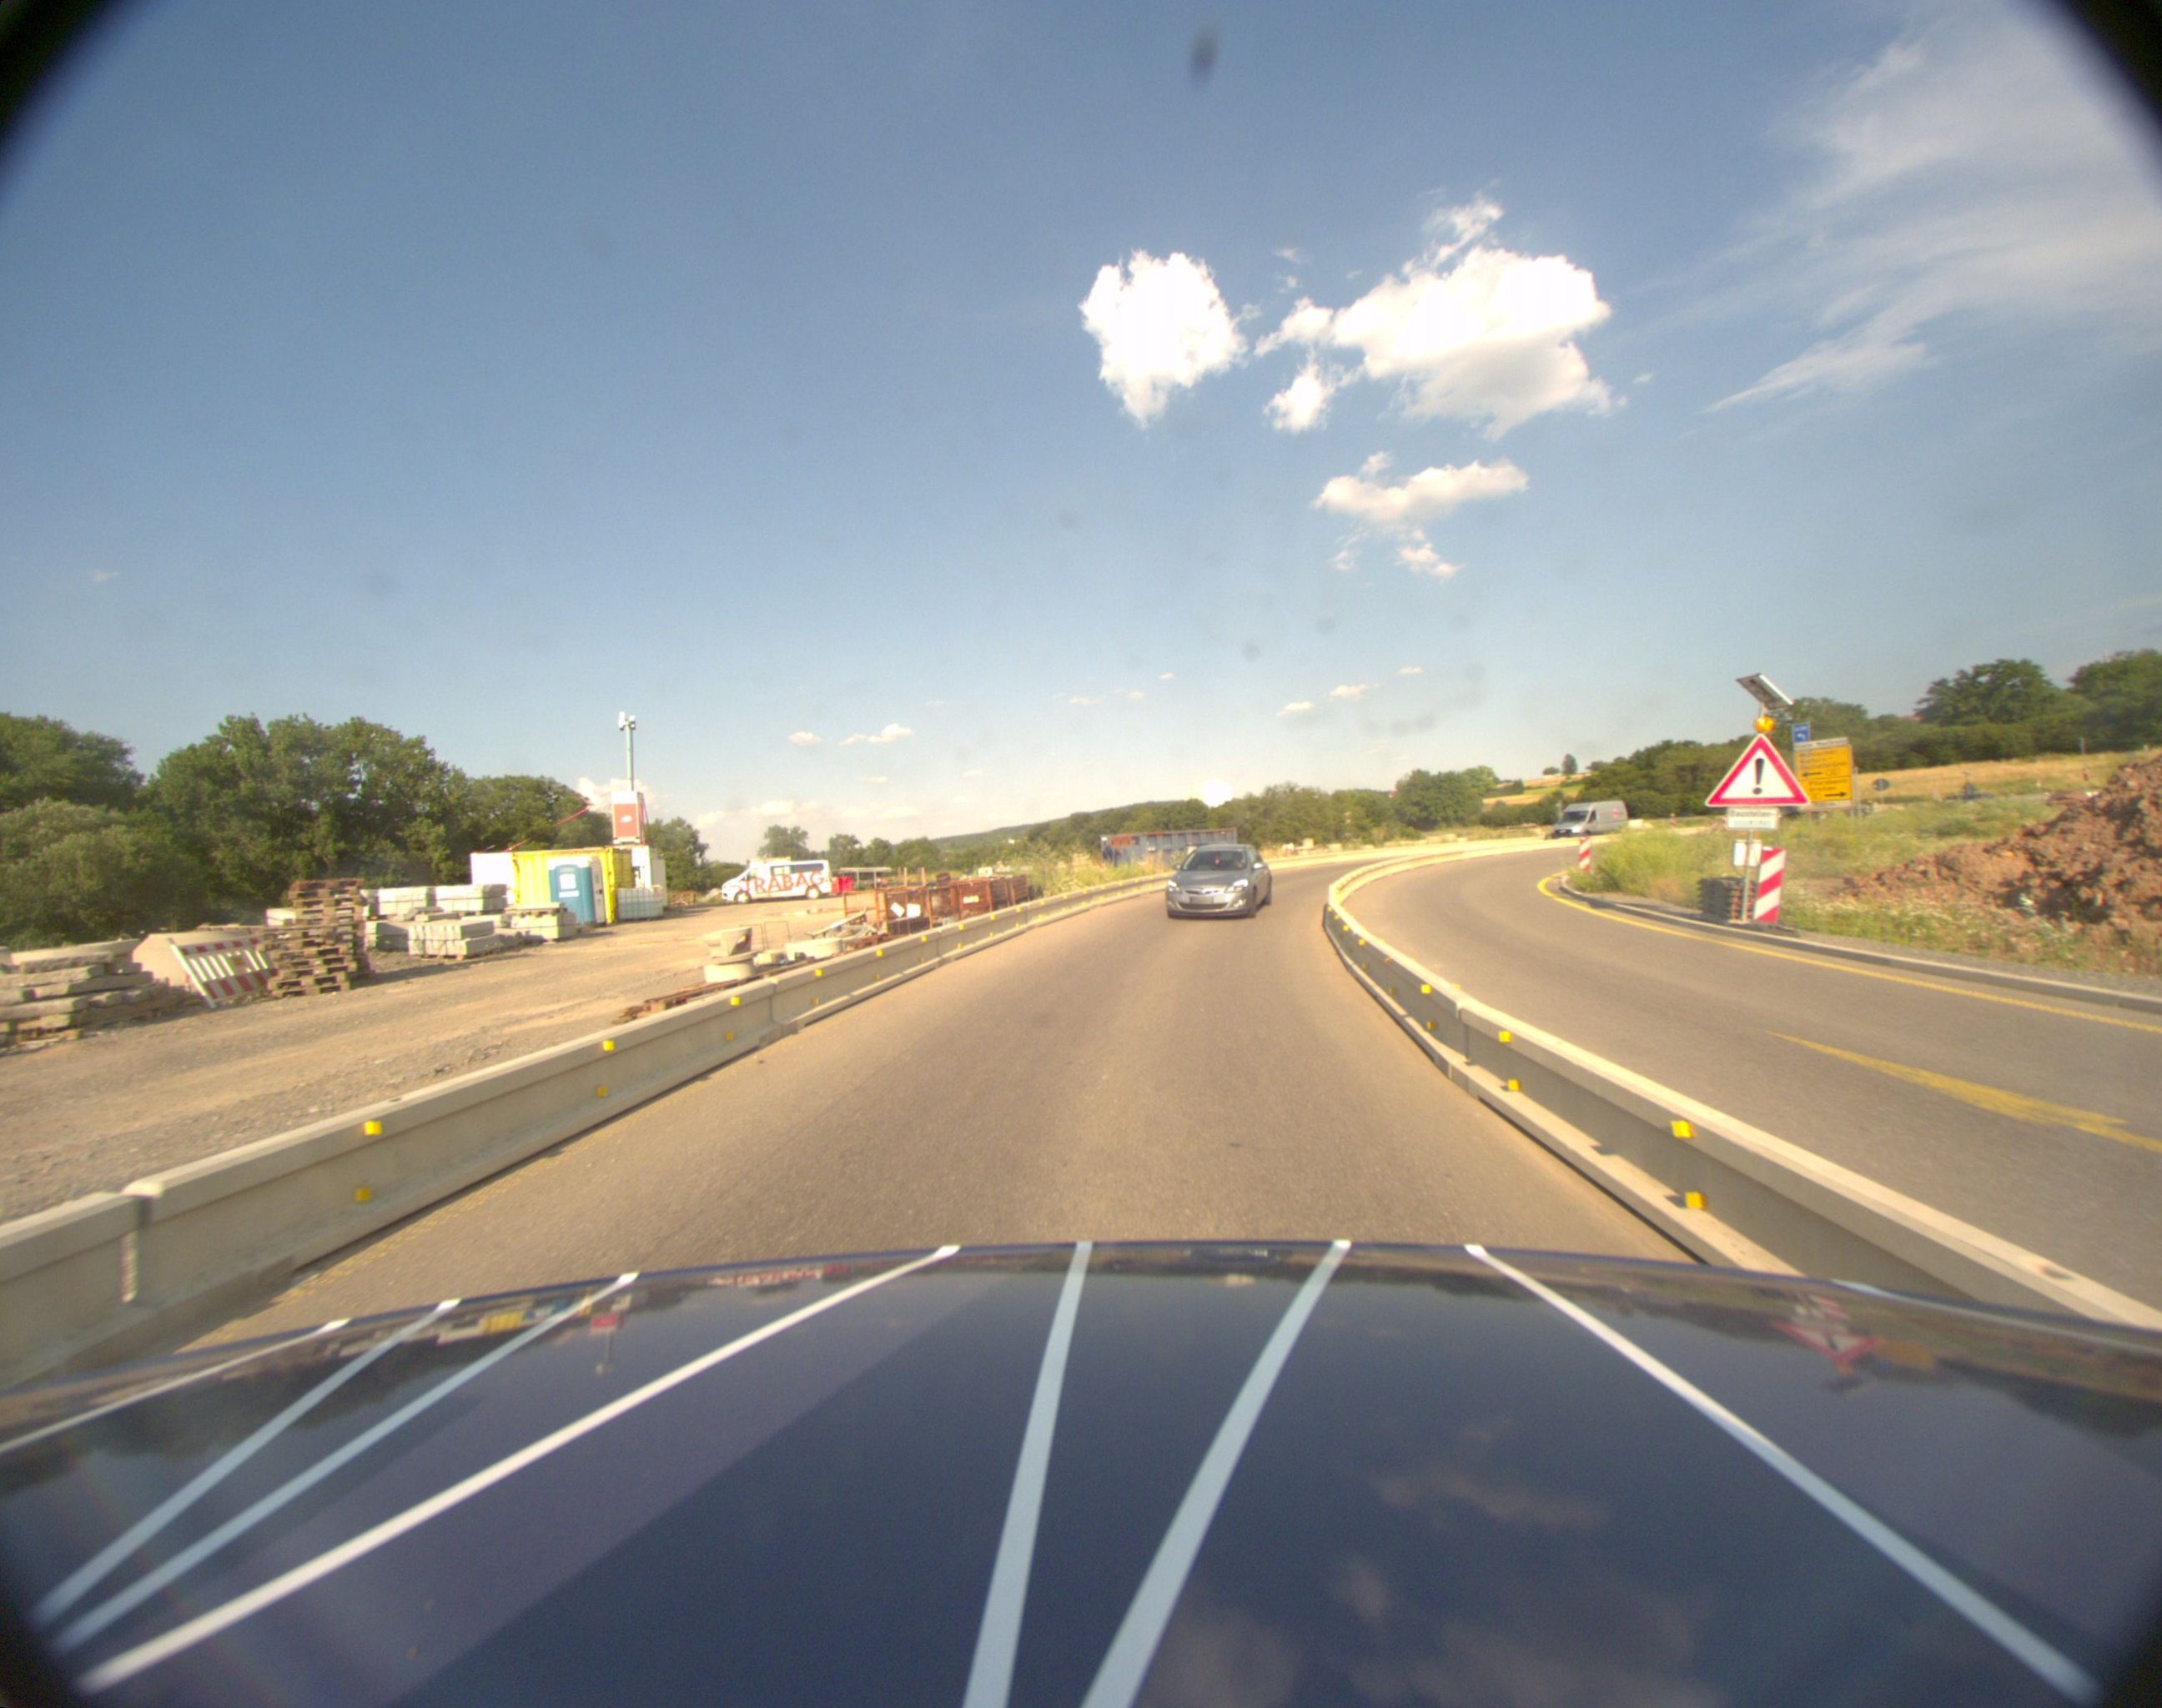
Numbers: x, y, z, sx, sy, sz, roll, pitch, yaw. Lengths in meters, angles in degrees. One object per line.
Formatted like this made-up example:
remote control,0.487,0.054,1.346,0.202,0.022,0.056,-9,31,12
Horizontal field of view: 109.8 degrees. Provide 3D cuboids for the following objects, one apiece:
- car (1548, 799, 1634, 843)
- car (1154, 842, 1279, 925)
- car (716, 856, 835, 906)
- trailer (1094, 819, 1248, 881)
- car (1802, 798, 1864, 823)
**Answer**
car,33.061,-2.154,49.182,5.804,2.487,1.913,-4,1,-26
car,3.107,0.551,16.619,1.745,1.476,4.257,-3,1,22
car,-15.502,1.310,38.809,5.324,2.067,2.483,-4,1,-20
trailer,4.362,-0.246,35.719,7.240,2.400,3.006,-5,1,-41
car,53.141,-3.080,53.660,4.520,1.511,1.712,-4,3,-26
